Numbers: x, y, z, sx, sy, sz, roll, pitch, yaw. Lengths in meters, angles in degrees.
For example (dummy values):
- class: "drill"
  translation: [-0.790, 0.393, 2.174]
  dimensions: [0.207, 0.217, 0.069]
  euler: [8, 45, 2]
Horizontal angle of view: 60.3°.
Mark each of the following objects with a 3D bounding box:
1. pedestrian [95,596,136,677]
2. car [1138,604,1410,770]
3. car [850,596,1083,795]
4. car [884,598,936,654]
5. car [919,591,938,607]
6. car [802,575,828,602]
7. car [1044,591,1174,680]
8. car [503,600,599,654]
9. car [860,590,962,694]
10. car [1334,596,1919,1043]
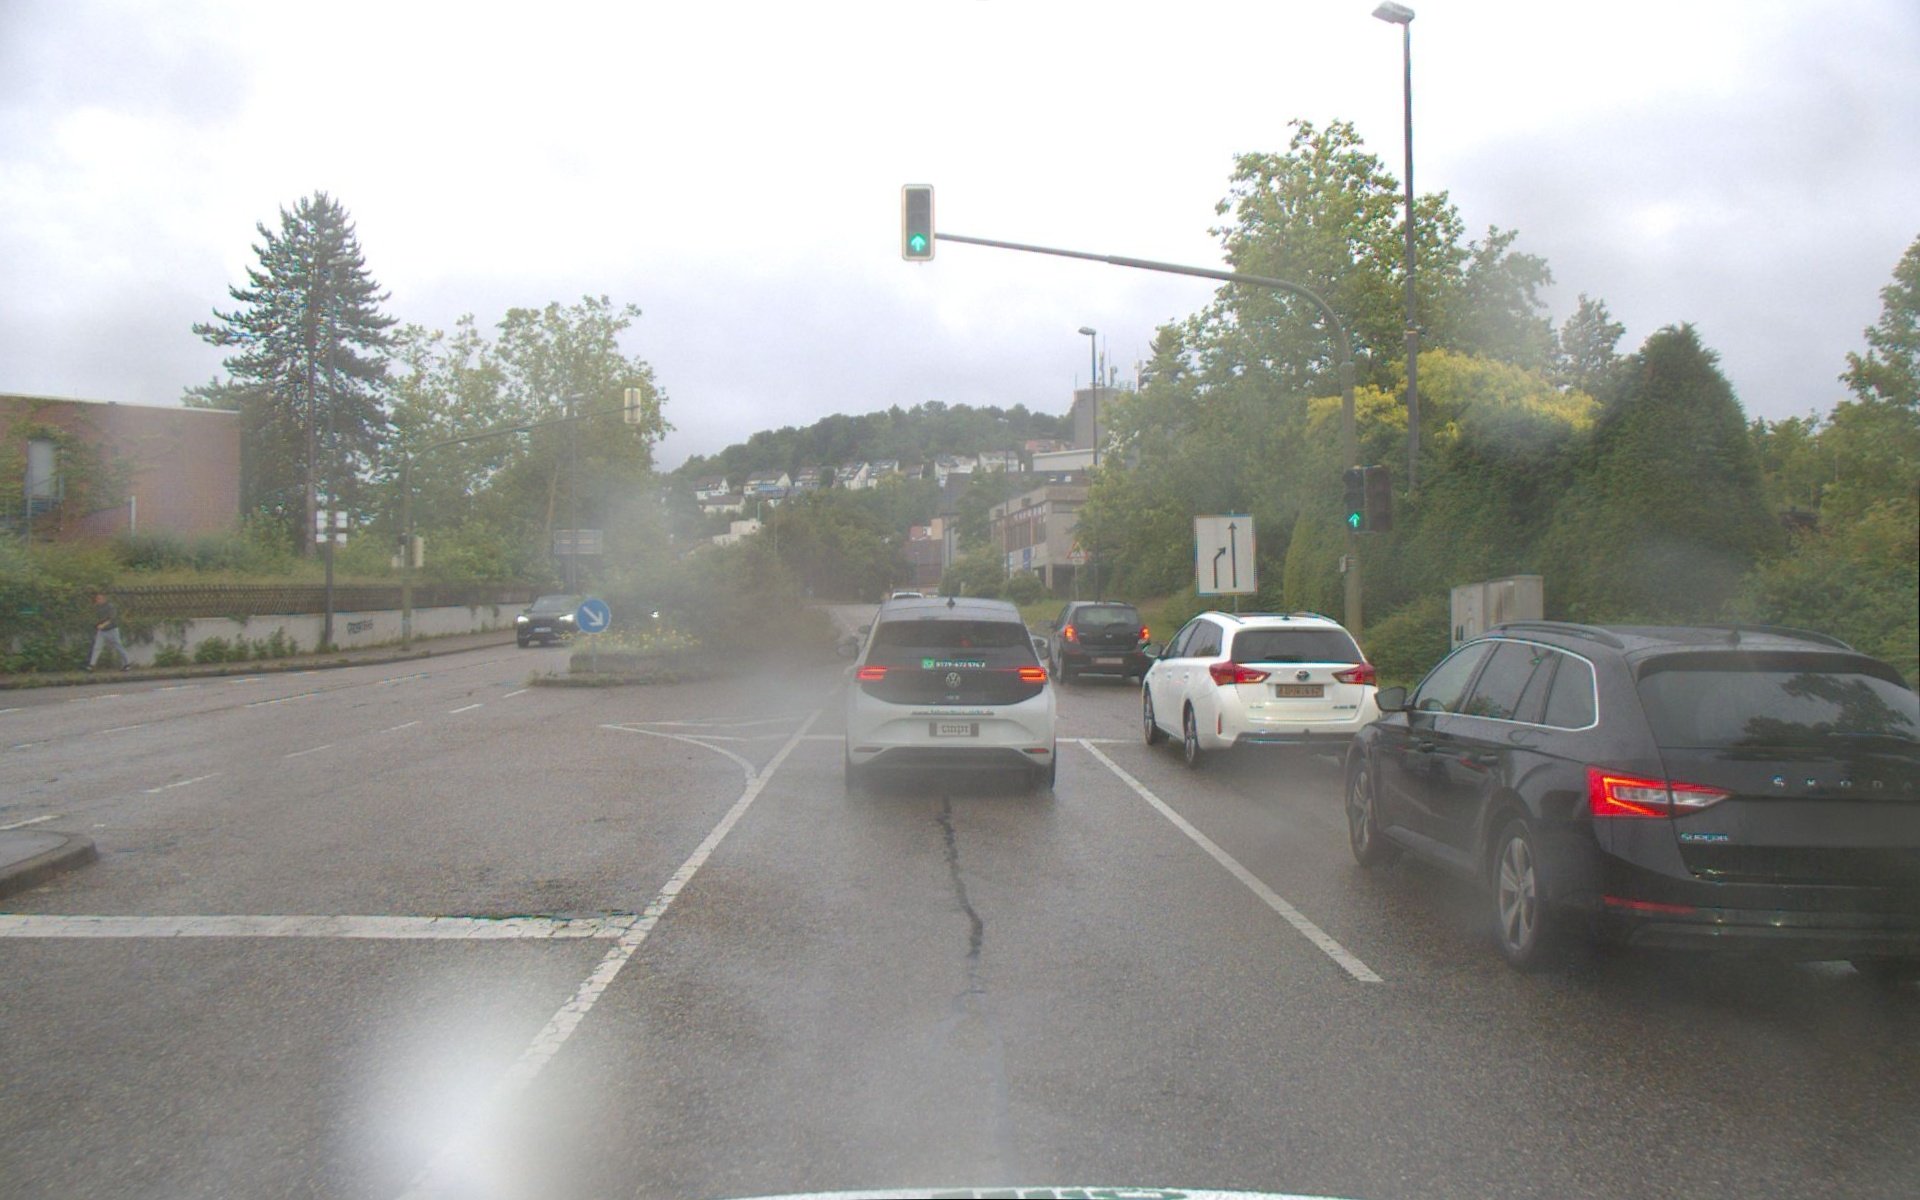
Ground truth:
- class: "pedestrian"
  translation: [-17.773, 0.773, 34.818]
  dimensions: [0.541, 1.671, 0.499]
  euler: [-2, 0, 29]
- class: "car"
  translation: [2.954, 0.774, 16.470]
  dimensions: [1.810, 1.434, 4.300]
  euler: [0, -1, -1]
- class: "car"
  translation: [0.010, 0.756, 14.829]
  dimensions: [1.791, 1.526, 4.167]
  euler: [0, -1, -1]
- class: "car"
  translation: [-1.915, 0.999, 64.090]
  dimensions: [1.953, 2.049, 3.999]
  euler: [1, -1, -1]
- class: "car"
  translation: [-3.091, -0.130, 163.199]
  dimensions: [1.703, 1.490, 3.997]
  euler: [1, -1, -3]
- class: "car"
  translation: [-11.617, -0.870, 132.789]
  dimensions: [1.954, 2.049, 3.997]
  euler: [1, -1, -3]
- class: "car"
  translation: [2.709, 0.638, 30.811]
  dimensions: [1.953, 1.478, 3.769]
  euler: [-2, -1, -1]
- class: "car"
  translation: [-12.551, 0.823, 50.995]
  dimensions: [1.911, 1.504, 4.294]
  euler: [-2, -1, -1]
- class: "car"
  translation: [-0.860, 0.615, 26.966]
  dimensions: [1.536, 1.557, 3.997]
  euler: [0, 0, -4]
- class: "car"
  translation: [3.320, 0.812, 8.132]
  dimensions: [1.914, 1.534, 4.608]
  euler: [2, -1, 0]
